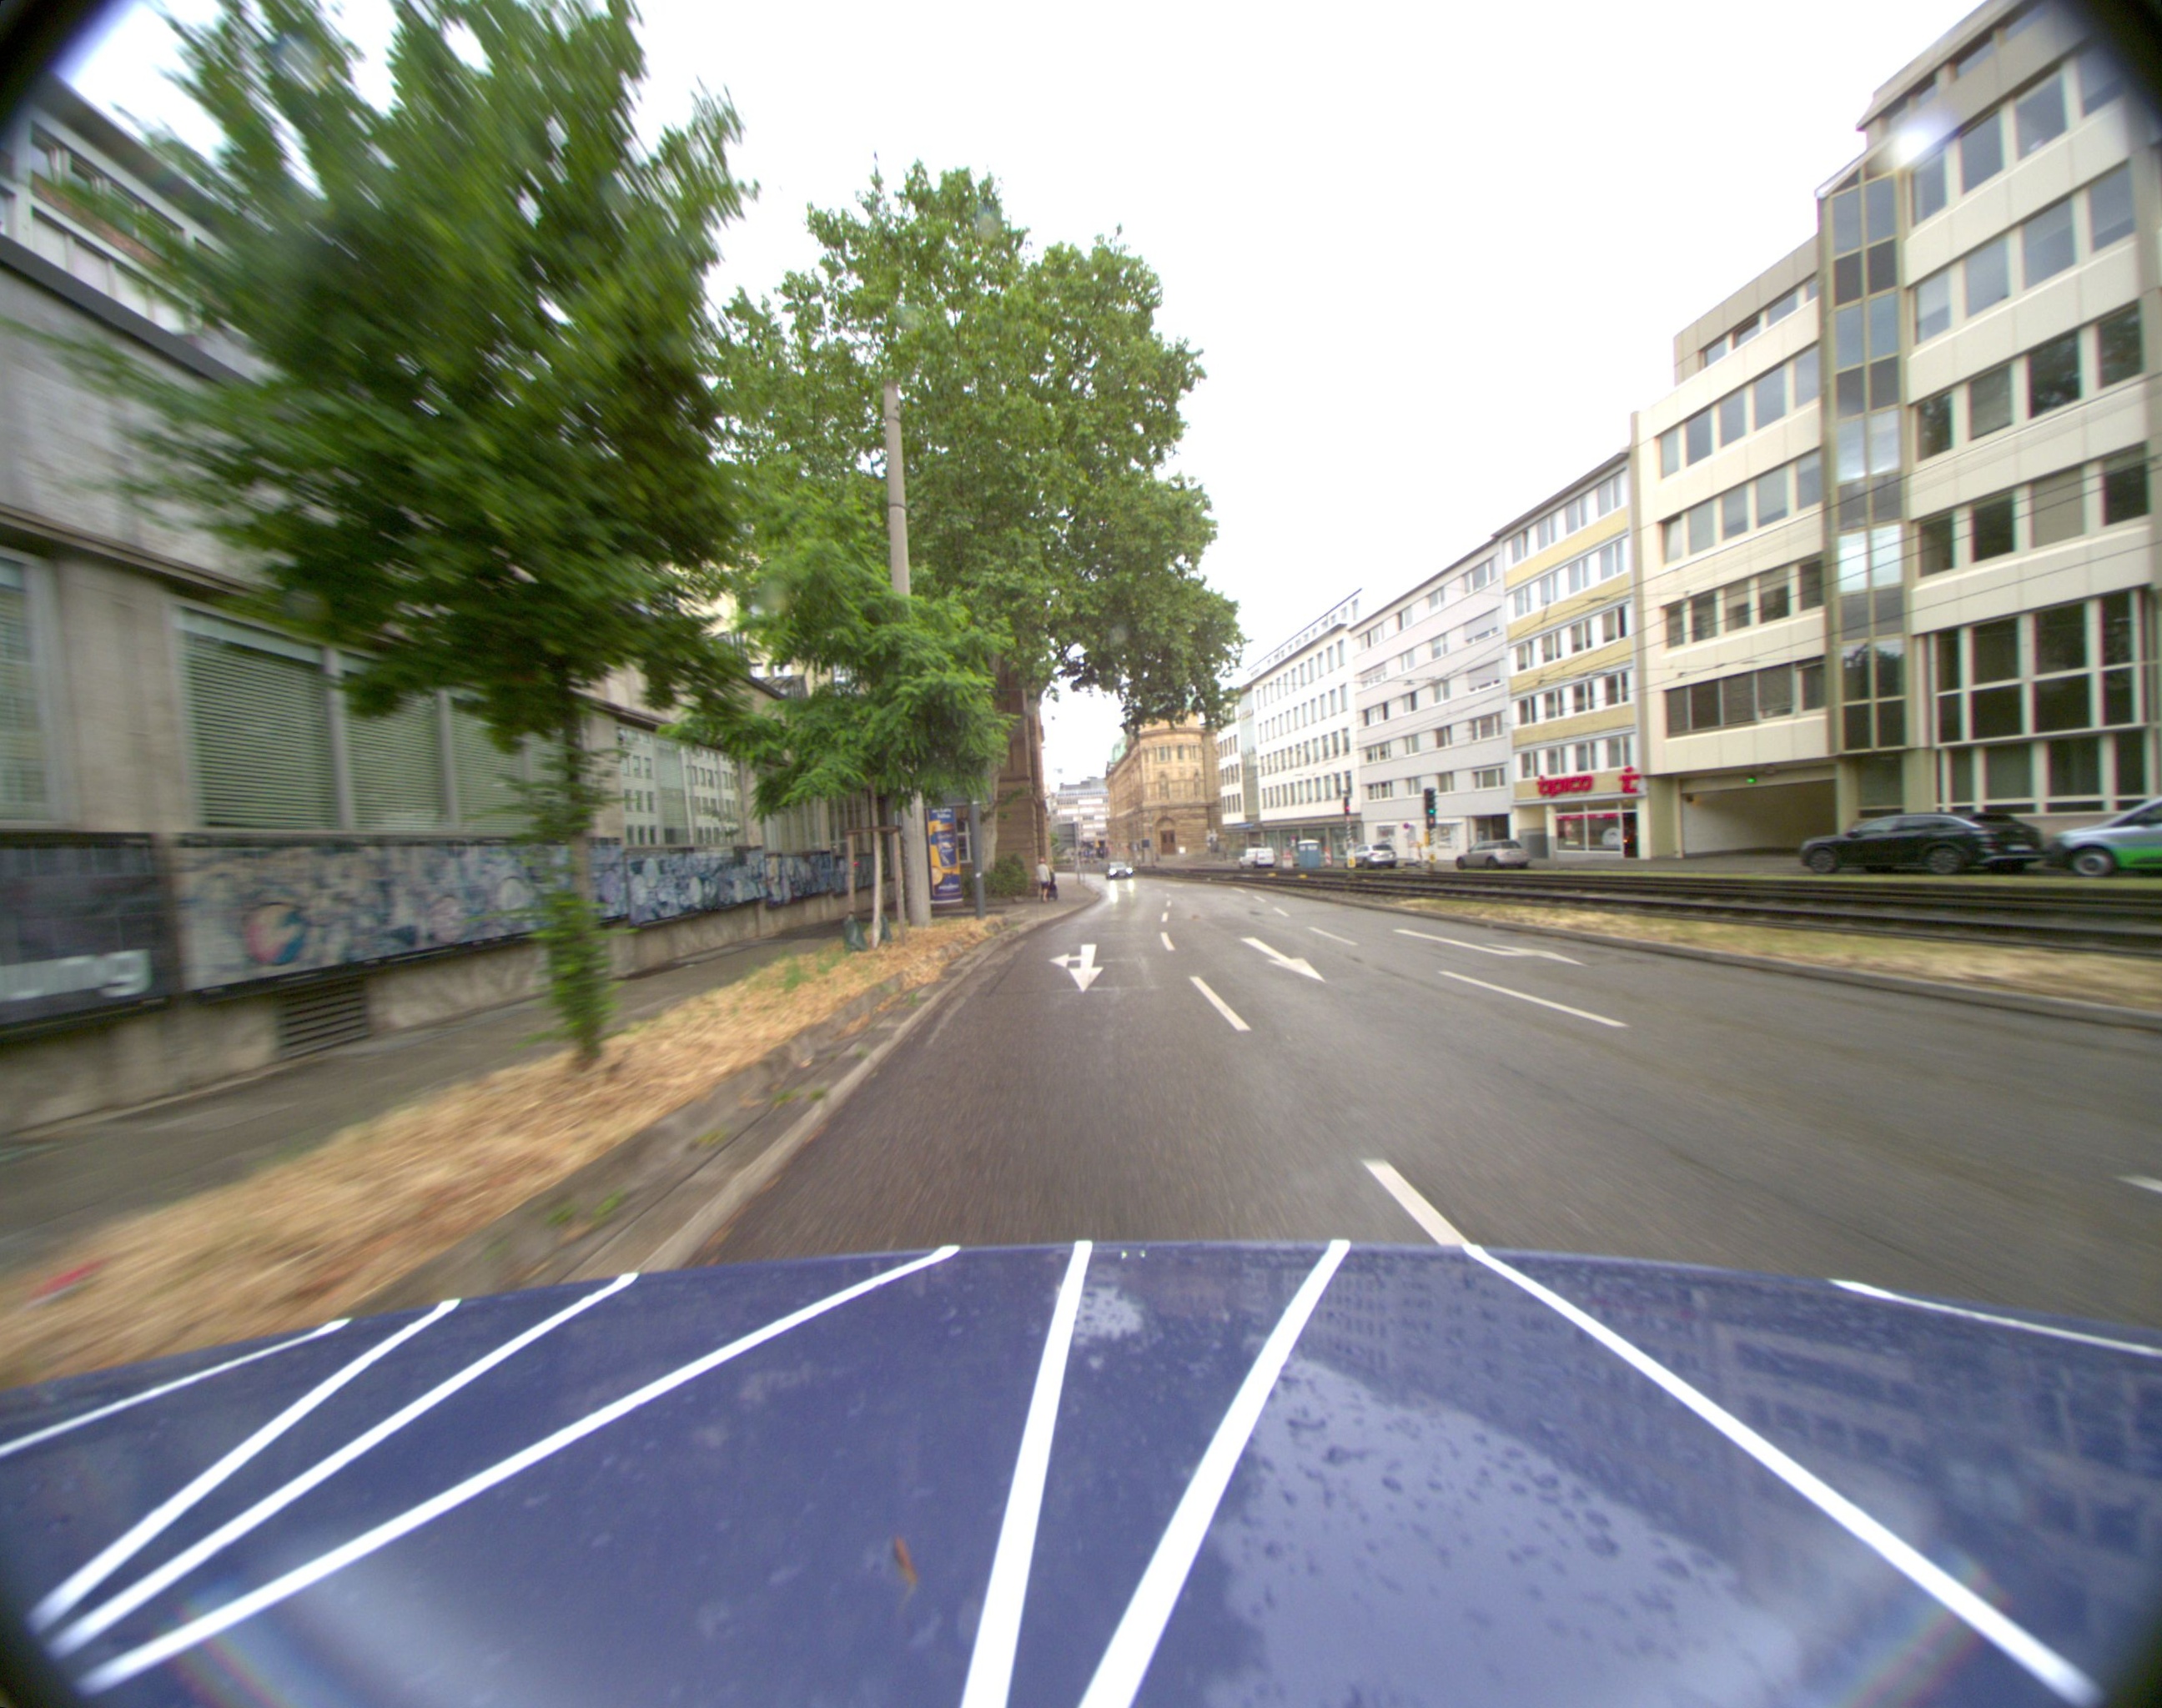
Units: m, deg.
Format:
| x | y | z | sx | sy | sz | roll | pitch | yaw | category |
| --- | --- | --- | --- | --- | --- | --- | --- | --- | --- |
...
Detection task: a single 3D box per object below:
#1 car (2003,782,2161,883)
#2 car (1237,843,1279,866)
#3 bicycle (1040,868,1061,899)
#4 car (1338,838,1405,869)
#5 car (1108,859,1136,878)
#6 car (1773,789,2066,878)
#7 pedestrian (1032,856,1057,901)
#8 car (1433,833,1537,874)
| x | y | z | sx | sy | sz | roll | pitch | yaw | category |
| --- | --- | --- | --- | --- | --- | --- | --- | --- | --- |
| 21.467 | -0.463 | 14.397 | 1.999 | 1.840 | 4.691 | -6 | 1 | -7 | car |
| 16.391 | 0.020 | 70.711 | 1.999 | 1.832 | 5.127 | -6 | 1 | -7 | car |
| -1.238 | 1.211 | 31.169 | 0.620 | 1.213 | 0.911 | -2 | 0 | 12 | bicycle |
| 18.264 | 0.001 | 48.041 | 1.999 | 1.664 | 4.694 | -6 | 0 | -5 | car |
| 3.516 | 1.216 | 65.910 | 1.999 | 1.458 | 4.643 | -5 | 0 | -1 | car |
| 21.032 | -0.497 | 19.436 | 1.999 | 1.840 | 4.691 | -6 | 1 | -7 | car |
| -1.441 | 0.960 | 30.193 | 0.719 | 1.732 | 1.020 | -1 | 0 | 11 | pedestrian |
| 19.311 | -0.062 | 36.631 | 1.999 | 1.664 | 4.691 | -6 | 1 | -7 | car |
